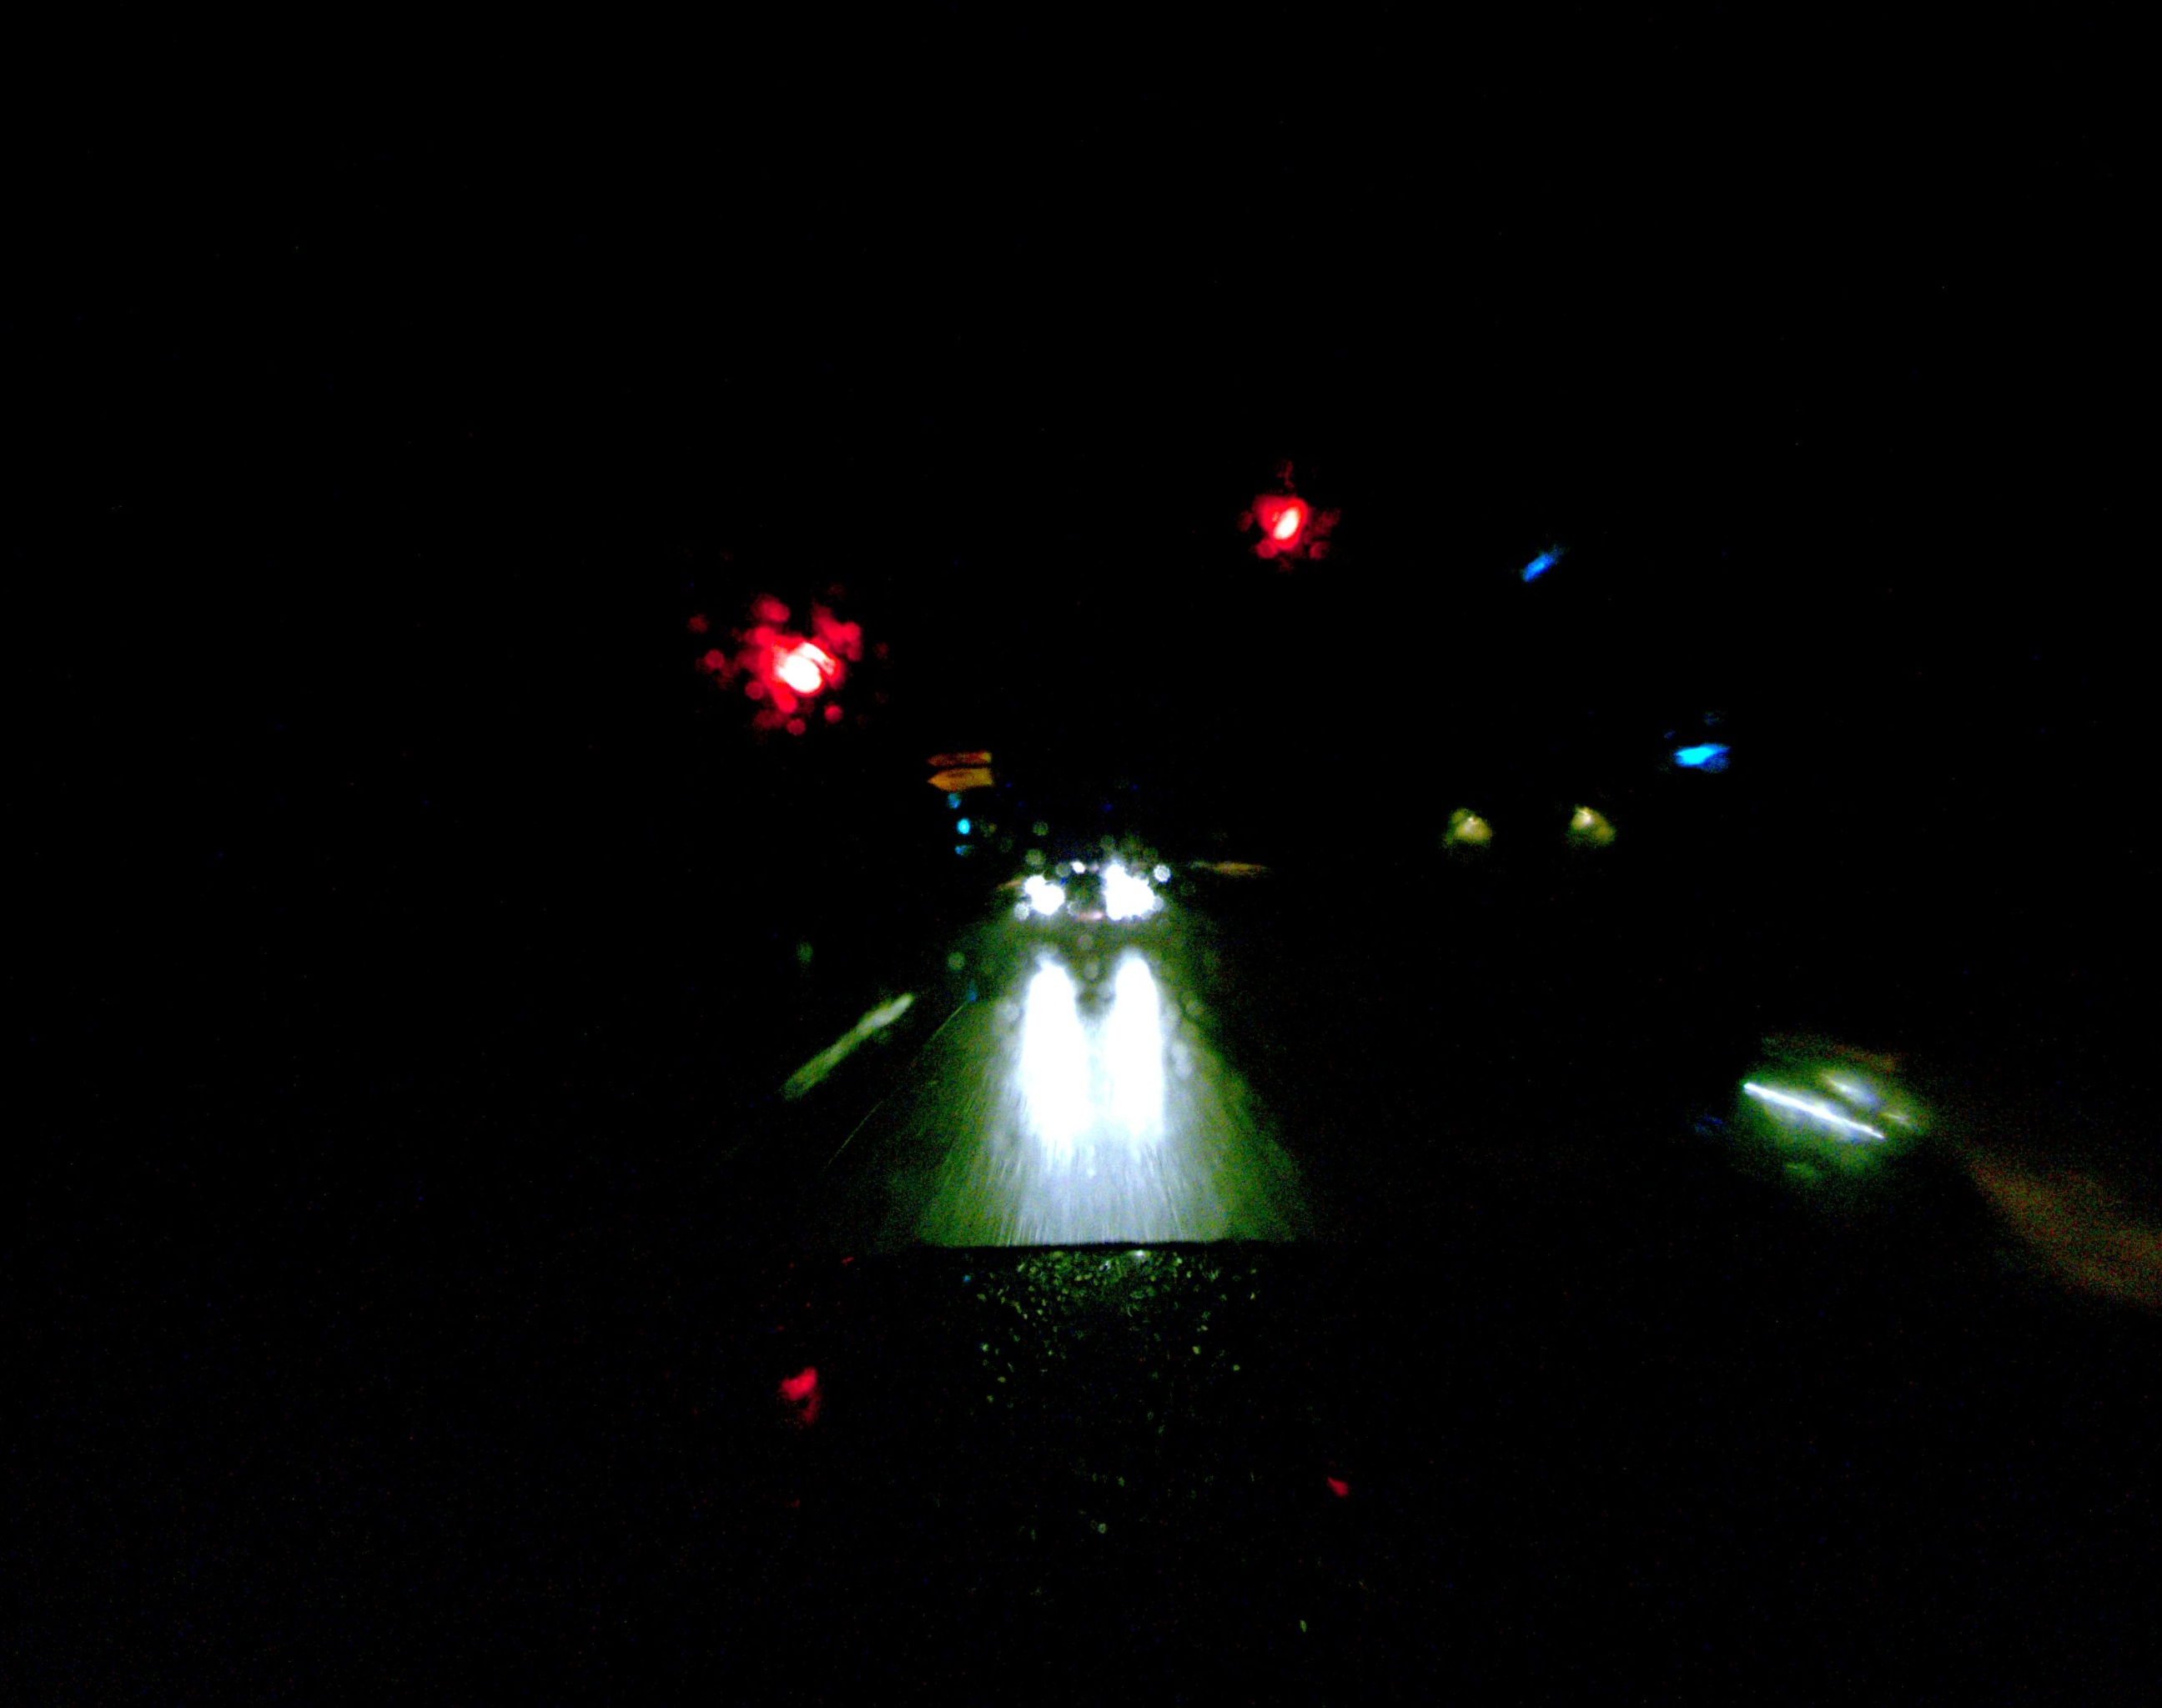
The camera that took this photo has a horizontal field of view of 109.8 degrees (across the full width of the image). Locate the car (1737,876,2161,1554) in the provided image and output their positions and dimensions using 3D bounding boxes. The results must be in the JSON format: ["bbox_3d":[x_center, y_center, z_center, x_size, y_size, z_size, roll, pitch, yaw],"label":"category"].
[{"bbox_3d":[3.313,0.841,0.989,1.673,1.464,3.632,-2,0,-2],"label":"car"}]

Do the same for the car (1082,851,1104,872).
[{"bbox_3d":[1.159,0.624,70.332,1.759,1.807,4.711,-3,0,4],"label":"car"}]

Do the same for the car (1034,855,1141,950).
[{"bbox_3d":[0.173,0.844,15.550,1.809,1.590,4.786,-1,0,1],"label":"car"}]
